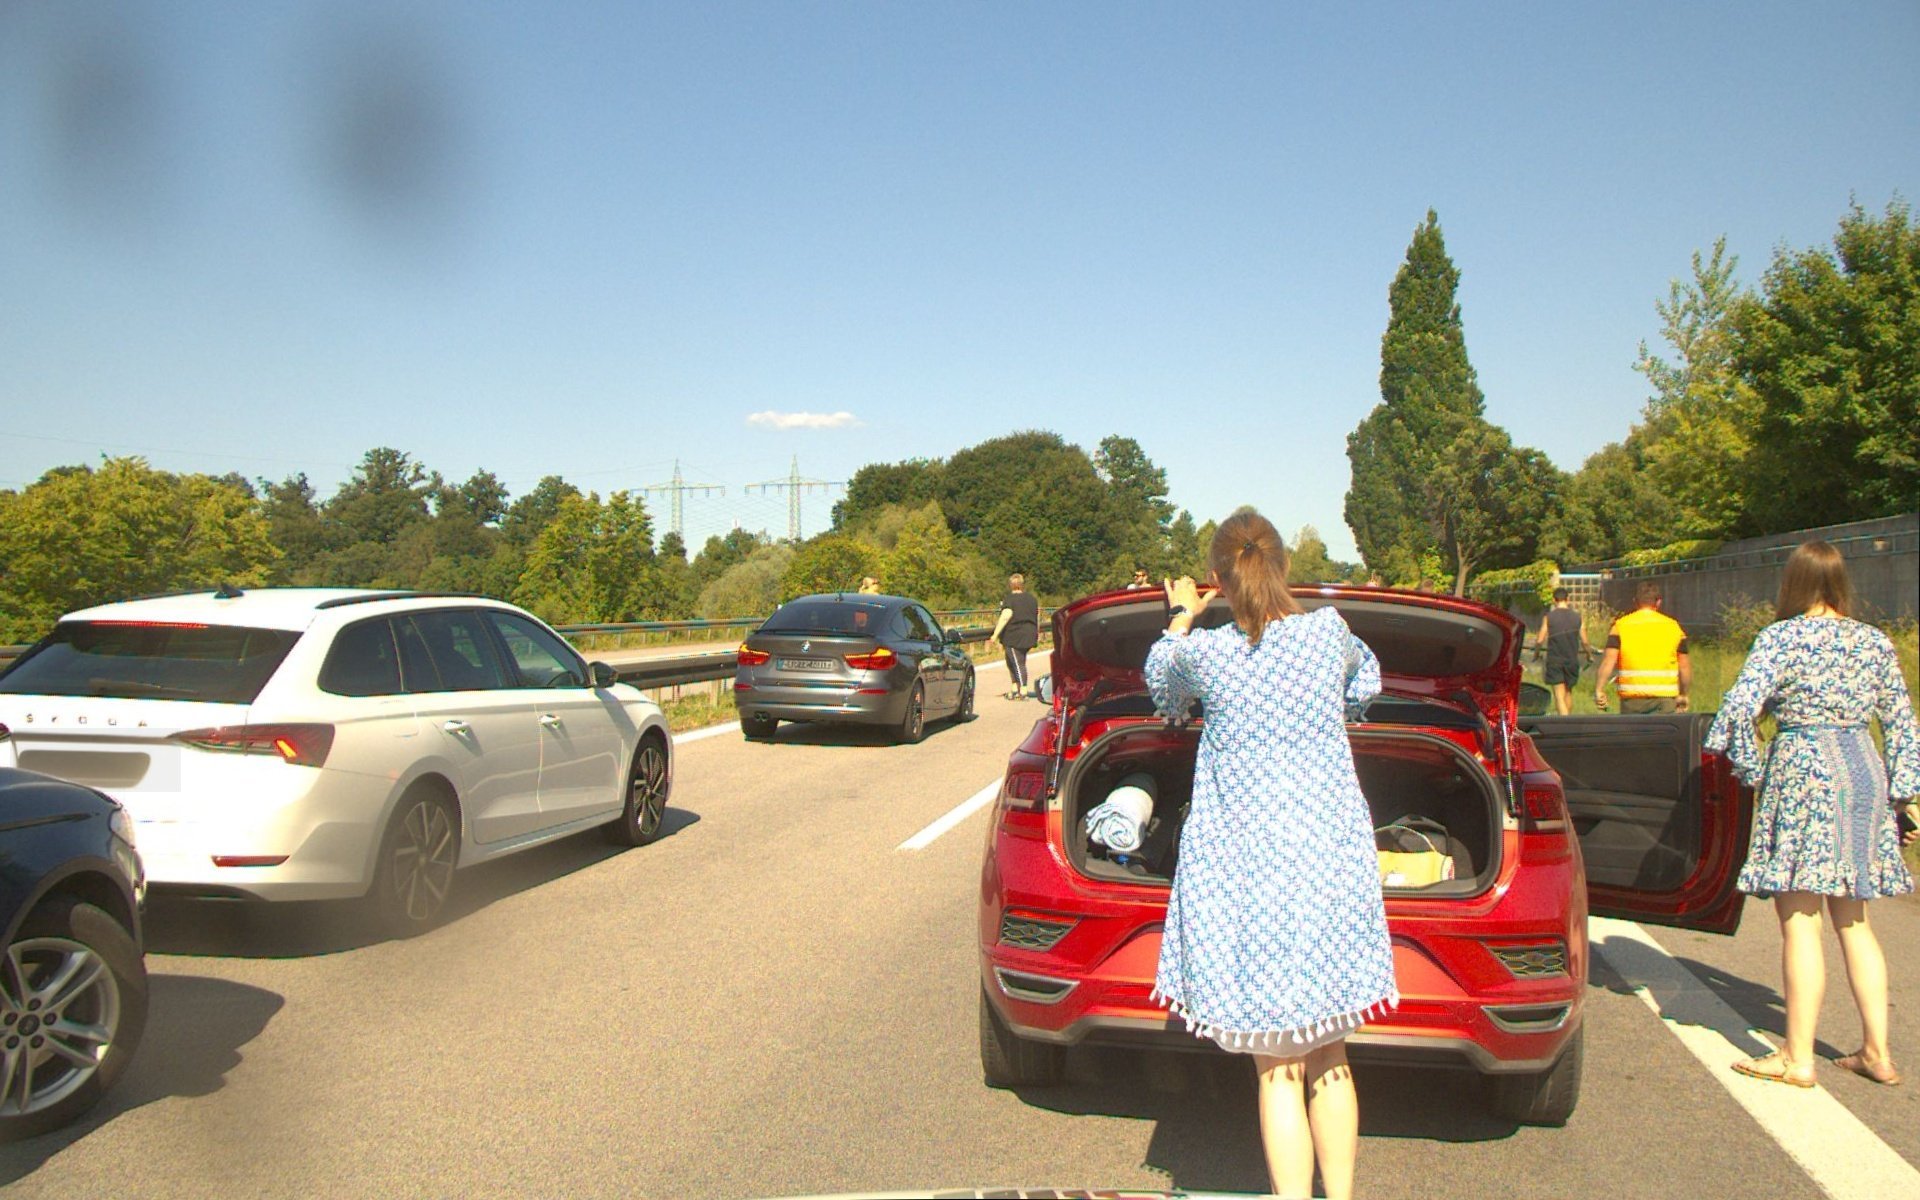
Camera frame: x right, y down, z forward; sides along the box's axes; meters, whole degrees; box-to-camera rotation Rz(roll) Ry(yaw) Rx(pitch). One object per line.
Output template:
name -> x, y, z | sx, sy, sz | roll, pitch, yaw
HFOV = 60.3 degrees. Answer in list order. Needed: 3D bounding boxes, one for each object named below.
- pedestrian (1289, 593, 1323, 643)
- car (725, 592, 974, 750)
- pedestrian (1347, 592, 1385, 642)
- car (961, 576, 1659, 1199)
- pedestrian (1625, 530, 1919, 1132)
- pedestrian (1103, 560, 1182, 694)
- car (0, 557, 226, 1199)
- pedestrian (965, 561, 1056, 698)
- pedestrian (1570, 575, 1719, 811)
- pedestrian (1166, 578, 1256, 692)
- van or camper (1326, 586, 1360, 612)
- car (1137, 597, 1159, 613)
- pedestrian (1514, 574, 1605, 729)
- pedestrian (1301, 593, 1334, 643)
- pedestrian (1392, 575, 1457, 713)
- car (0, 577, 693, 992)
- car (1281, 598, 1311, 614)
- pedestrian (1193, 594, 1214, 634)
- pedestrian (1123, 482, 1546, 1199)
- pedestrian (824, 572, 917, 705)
pedestrian -> 12.089, 0.620, 57.788 | 1.090, 1.719, 0.974 | 1, 0, 15
car -> -1.037, 0.662, 17.789 | 1.658, 1.451, 4.337 | 1, 0, 10
pedestrian -> 14.225, 0.593, 57.915 | 0.979, 1.719, 1.007 | 1, 0, 34
car -> 1.217, 0.705, 6.237 | 1.695, 1.513, 4.214 | 1, 0, 10
pedestrian -> 2.827, 0.659, 5.332 | 0.872, 1.725, 1.128 | 0, 0, -3
pedestrian -> 2.708, 0.399, 24.744 | 1.082, 1.946, 1.257 | 0, 0, 3
car -> -3.135, 0.667, 2.733 | 1.751, 1.519, 4.494 | 0, 0, 1
pedestrian -> 0.732, 0.414, 23.768 | 1.043, 1.916, 1.094 | 0, 0, 17
pedestrian -> 5.165, 0.664, 12.560 | 0.937, 1.682, 1.279 | -1, 0, 18
pedestrian -> 4.132, 0.566, 27.257 | 1.071, 1.820, 1.102 | 1, 0, -18
van or camper -> 35.817, -0.069, 154.555 | 1.955, 2.356, 4.464 | 1, 0, 27
car -> 17.977, 0.499, 157.906 | 1.658, 1.451, 4.308 | 1, 0, 12
pedestrian -> 6.981, 0.586, 19.297 | 0.875, 1.755, 0.755 | 1, 0, 12
pedestrian -> 12.688, 0.635, 58.686 | 1.033, 1.719, 1.018 | 1, 0, 17
pedestrian -> 6.209, 0.574, 22.117 | 0.794, 1.790, 0.828 | 1, 0, 16
car -> -2.828, 0.650, 8.151 | 1.658, 1.466, 4.214 | 1, 0, 10
car -> 31.891, 0.587, 157.010 | 1.699, 1.513, 4.206 | 1, 0, 26
pedestrian -> 10.700, 0.613, 72.663 | 0.775, 1.719, 0.793 | 1, 0, 15
pedestrian -> 0.807, 0.626, 3.678 | 0.821, 1.712, 0.744 | 0, 0, 10
pedestrian -> -1.233, 0.525, 23.016 | 1.018, 1.794, 1.119 | -1, 0, 13
